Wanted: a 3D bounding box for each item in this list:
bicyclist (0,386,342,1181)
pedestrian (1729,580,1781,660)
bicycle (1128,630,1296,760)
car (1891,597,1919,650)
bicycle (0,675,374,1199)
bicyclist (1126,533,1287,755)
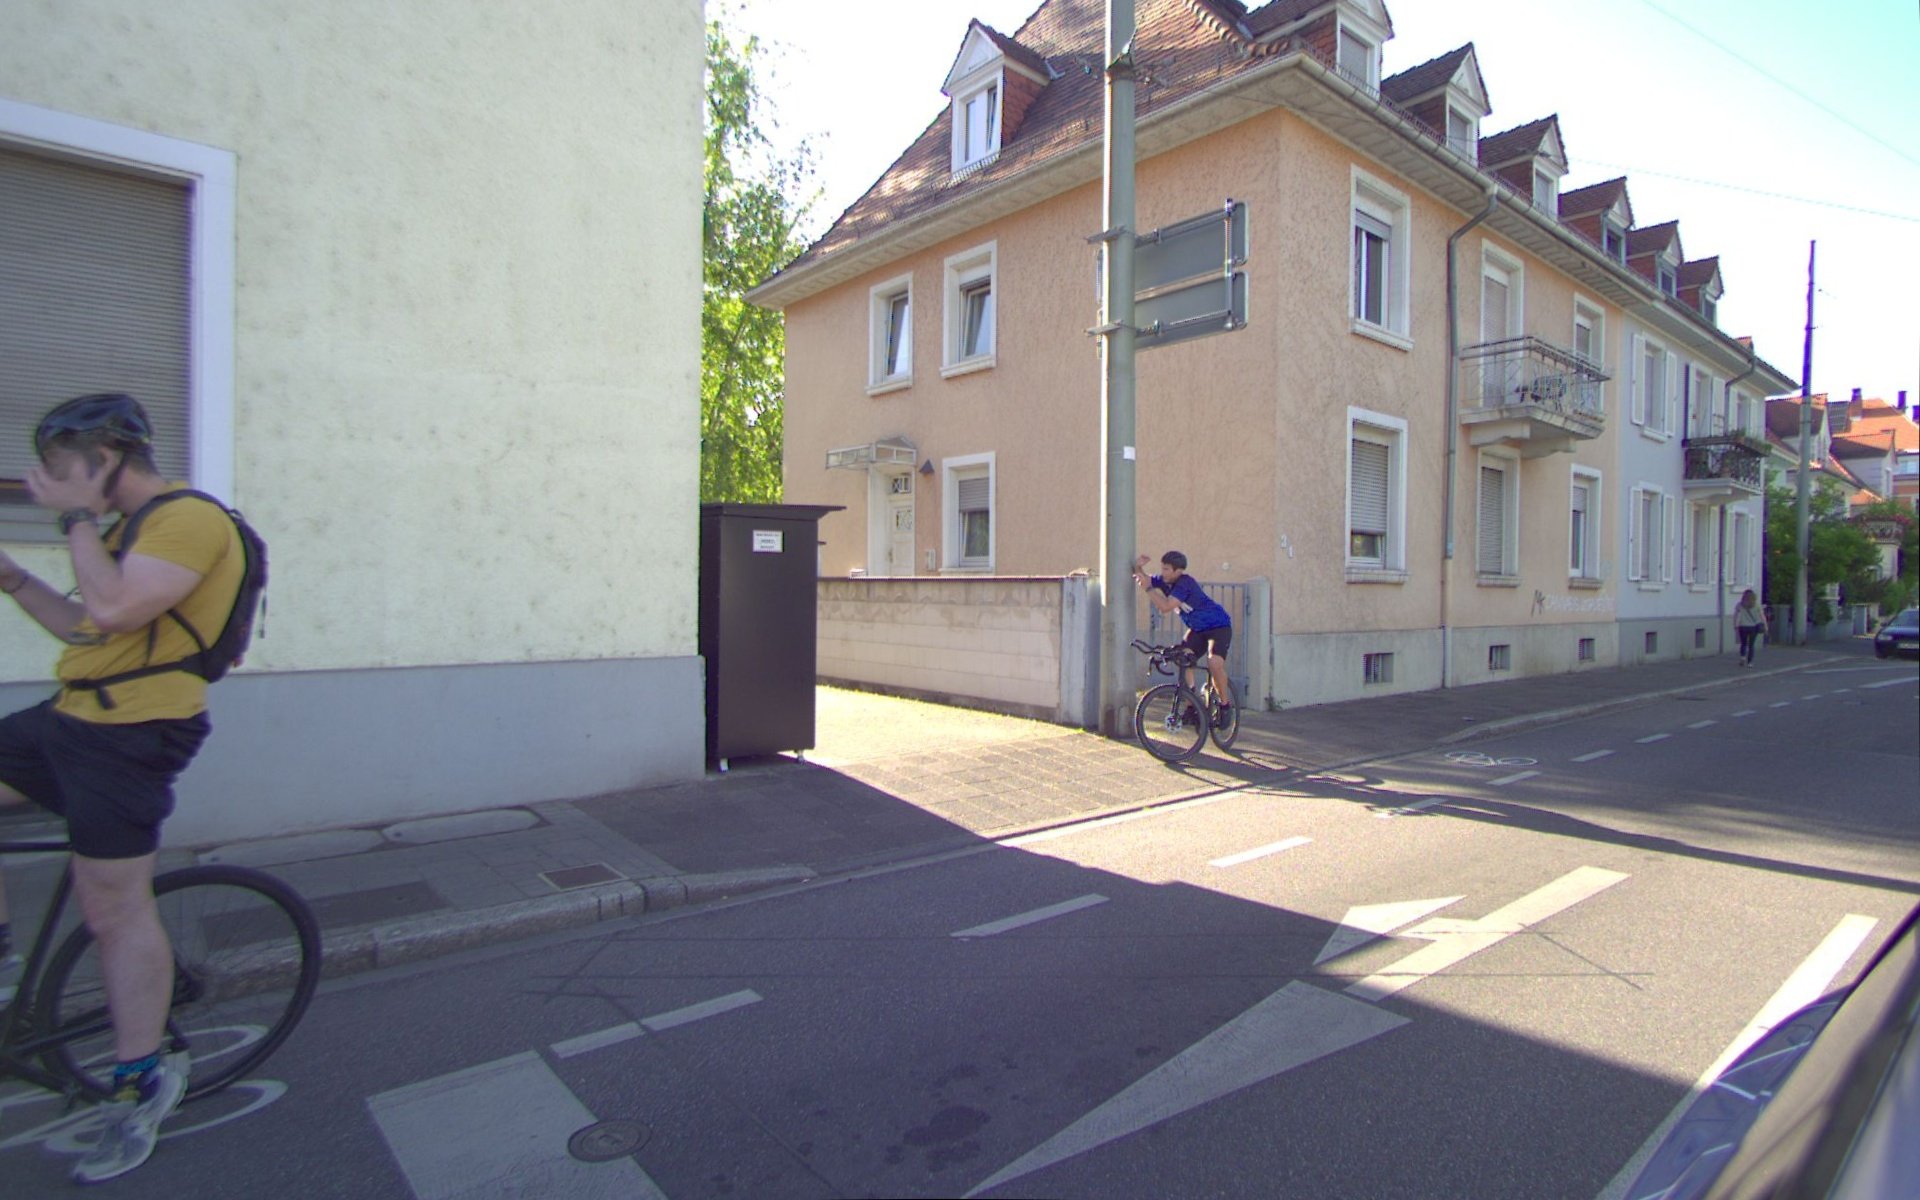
[{"bbox_3d":[-2.300,0.420,2.699,1.018,1.840,0.653,0,1,-41],"label":"bicyclist"},{"bbox_3d":[17.250,0.414,21.965,1.079,1.682,0.694,0,0,-41],"label":"pedestrian"},{"bbox_3d":[2.317,0.816,9.209,1.669,1.003,0.572,0,4,-41],"label":"bicycle"},{"bbox_3d":[26.697,0.626,27.344,3.796,1.382,1.648,0,1,-38],"label":"car"},{"bbox_3d":[-2.476,0.843,2.534,1.669,1.180,0.572,0,1,-41],"label":"bicycle"},{"bbox_3d":[2.284,0.359,9.434,0.831,1.887,1.076,0,4,-40],"label":"bicyclist"}]
